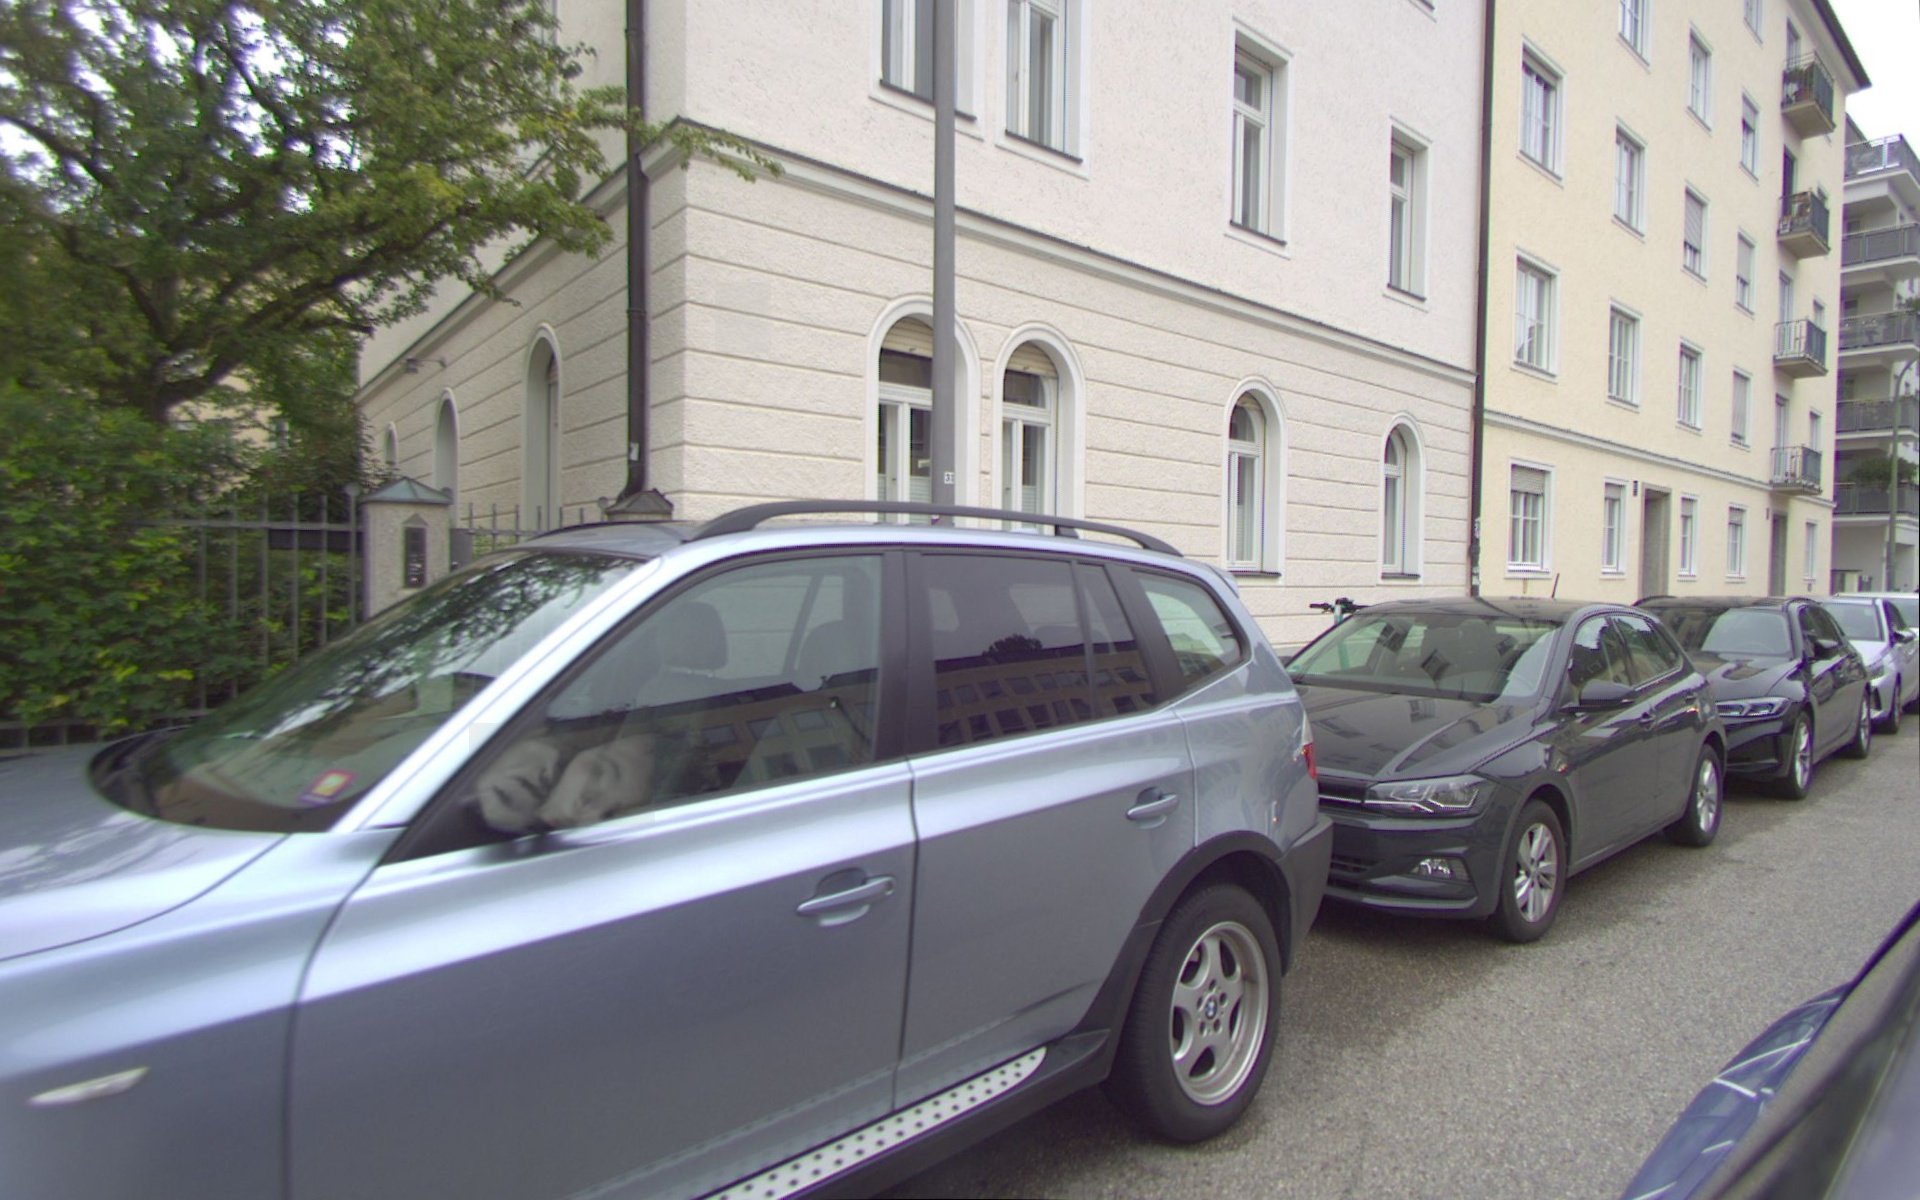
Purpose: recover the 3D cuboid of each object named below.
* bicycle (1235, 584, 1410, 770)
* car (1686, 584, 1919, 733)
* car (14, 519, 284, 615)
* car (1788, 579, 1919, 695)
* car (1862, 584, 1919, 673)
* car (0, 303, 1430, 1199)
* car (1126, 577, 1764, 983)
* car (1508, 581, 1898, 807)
[{"bbox_3d":[2.660,0.504,7.364,1.447,1.192,0.481,-1,4,-40],"label":"bicycle"},{"bbox_3d":[10.604,0.557,12.344,4.573,1.452,1.839,-1,1,-41],"label":"car"},{"bbox_3d":[-14.688,-0.587,18.595,1.649,1.563,3.672,1,1,11],"label":"car"},{"bbox_3d":[14.483,0.480,15.723,4.194,1.566,1.839,-1,1,-41],"label":"car"},{"bbox_3d":[17.927,0.460,18.373,3.953,1.477,1.839,-1,1,-41],"label":"car"},{"bbox_3d":[-0.748,0.534,2.485,4.312,1.752,1.781,-1,1,-40],"label":"car"},{"bbox_3d":[2.897,0.629,5.637,3.984,1.460,1.707,-1,1,-40],"label":"car"},{"bbox_3d":[6.559,0.586,8.725,4.451,1.432,1.800,-1,1,-41],"label":"car"}]
